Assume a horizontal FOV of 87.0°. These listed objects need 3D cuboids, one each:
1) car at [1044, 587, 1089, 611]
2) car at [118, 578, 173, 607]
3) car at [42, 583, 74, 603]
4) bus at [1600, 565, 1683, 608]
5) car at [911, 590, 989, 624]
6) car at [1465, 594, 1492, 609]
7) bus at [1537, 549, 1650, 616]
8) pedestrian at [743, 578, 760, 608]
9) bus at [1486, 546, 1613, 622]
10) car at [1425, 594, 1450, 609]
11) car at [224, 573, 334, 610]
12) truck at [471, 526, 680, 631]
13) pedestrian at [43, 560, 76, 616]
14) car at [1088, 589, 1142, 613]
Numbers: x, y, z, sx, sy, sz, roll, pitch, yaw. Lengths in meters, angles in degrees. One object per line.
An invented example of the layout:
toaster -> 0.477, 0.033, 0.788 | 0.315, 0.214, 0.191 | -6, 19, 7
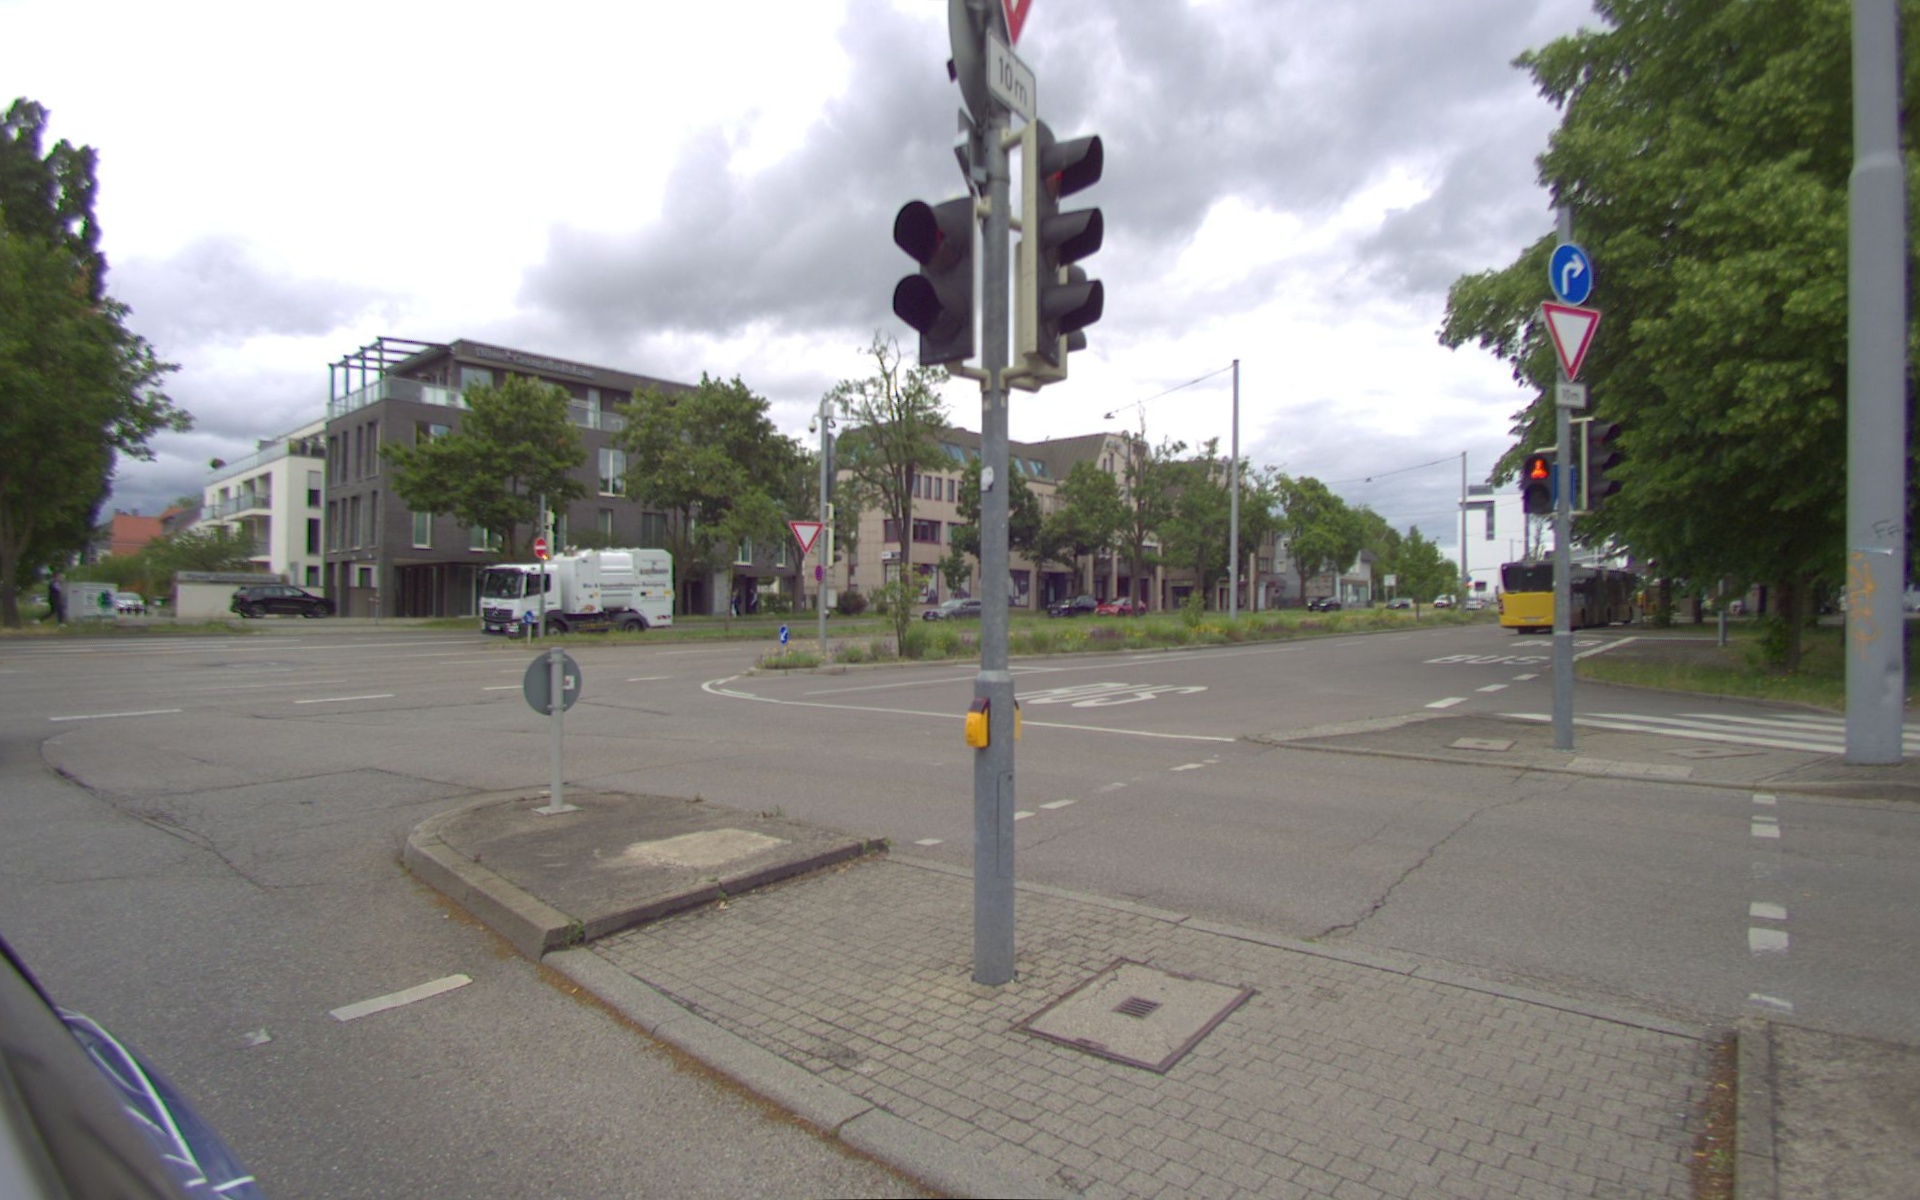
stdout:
car -> 7.415, -0.049, 70.465 | 1.764, 1.497, 3.864 | -1, -2, 29
car -> -49.636, -0.447, 61.665 | 3.825, 1.652, 1.852 | -2, 0, 40
car -> -74.598, -0.555, 83.702 | 1.927, 1.563, 3.969 | -2, 0, -42
bus -> 52.602, -1.079, 77.967 | 10.081, 3.031, 3.298 | -2, 0, -45
car -> -0.502, 0.392, 55.860 | 1.995, 1.707, 4.549 | -2, 0, 35
car -> 57.890, 0.118, 112.935 | 1.750, 1.540, 3.696 | -2, 0, 44
bus -> 32.035, -0.890, 50.963 | 3.054, 3.031, 9.560 | -2, 0, 43
pedestrian -> -11.733, -0.399, 57.043 | 0.693, 1.632, 0.590 | -2, 0, 40
bus -> 25.984, -0.707, 44.396 | 3.054, 3.031, 8.311 | -2, 0, 43
car -> 61.578, 0.176, 130.460 | 1.997, 1.829, 3.950 | -2, 0, 38
car -> -32.962, -0.388, 49.061 | 2.000, 1.613, 4.067 | -2, -2, 42
truck -> -12.870, -0.715, 34.392 | 2.432, 3.219, 6.391 | 2, 1, 34
pedestrian -> -29.486, -0.389, 33.122 | 0.739, 1.811, 0.672 | -2, 0, -45
car -> 10.710, 0.092, 69.528 | 1.823, 1.497, 4.322 | -2, -3, 37
